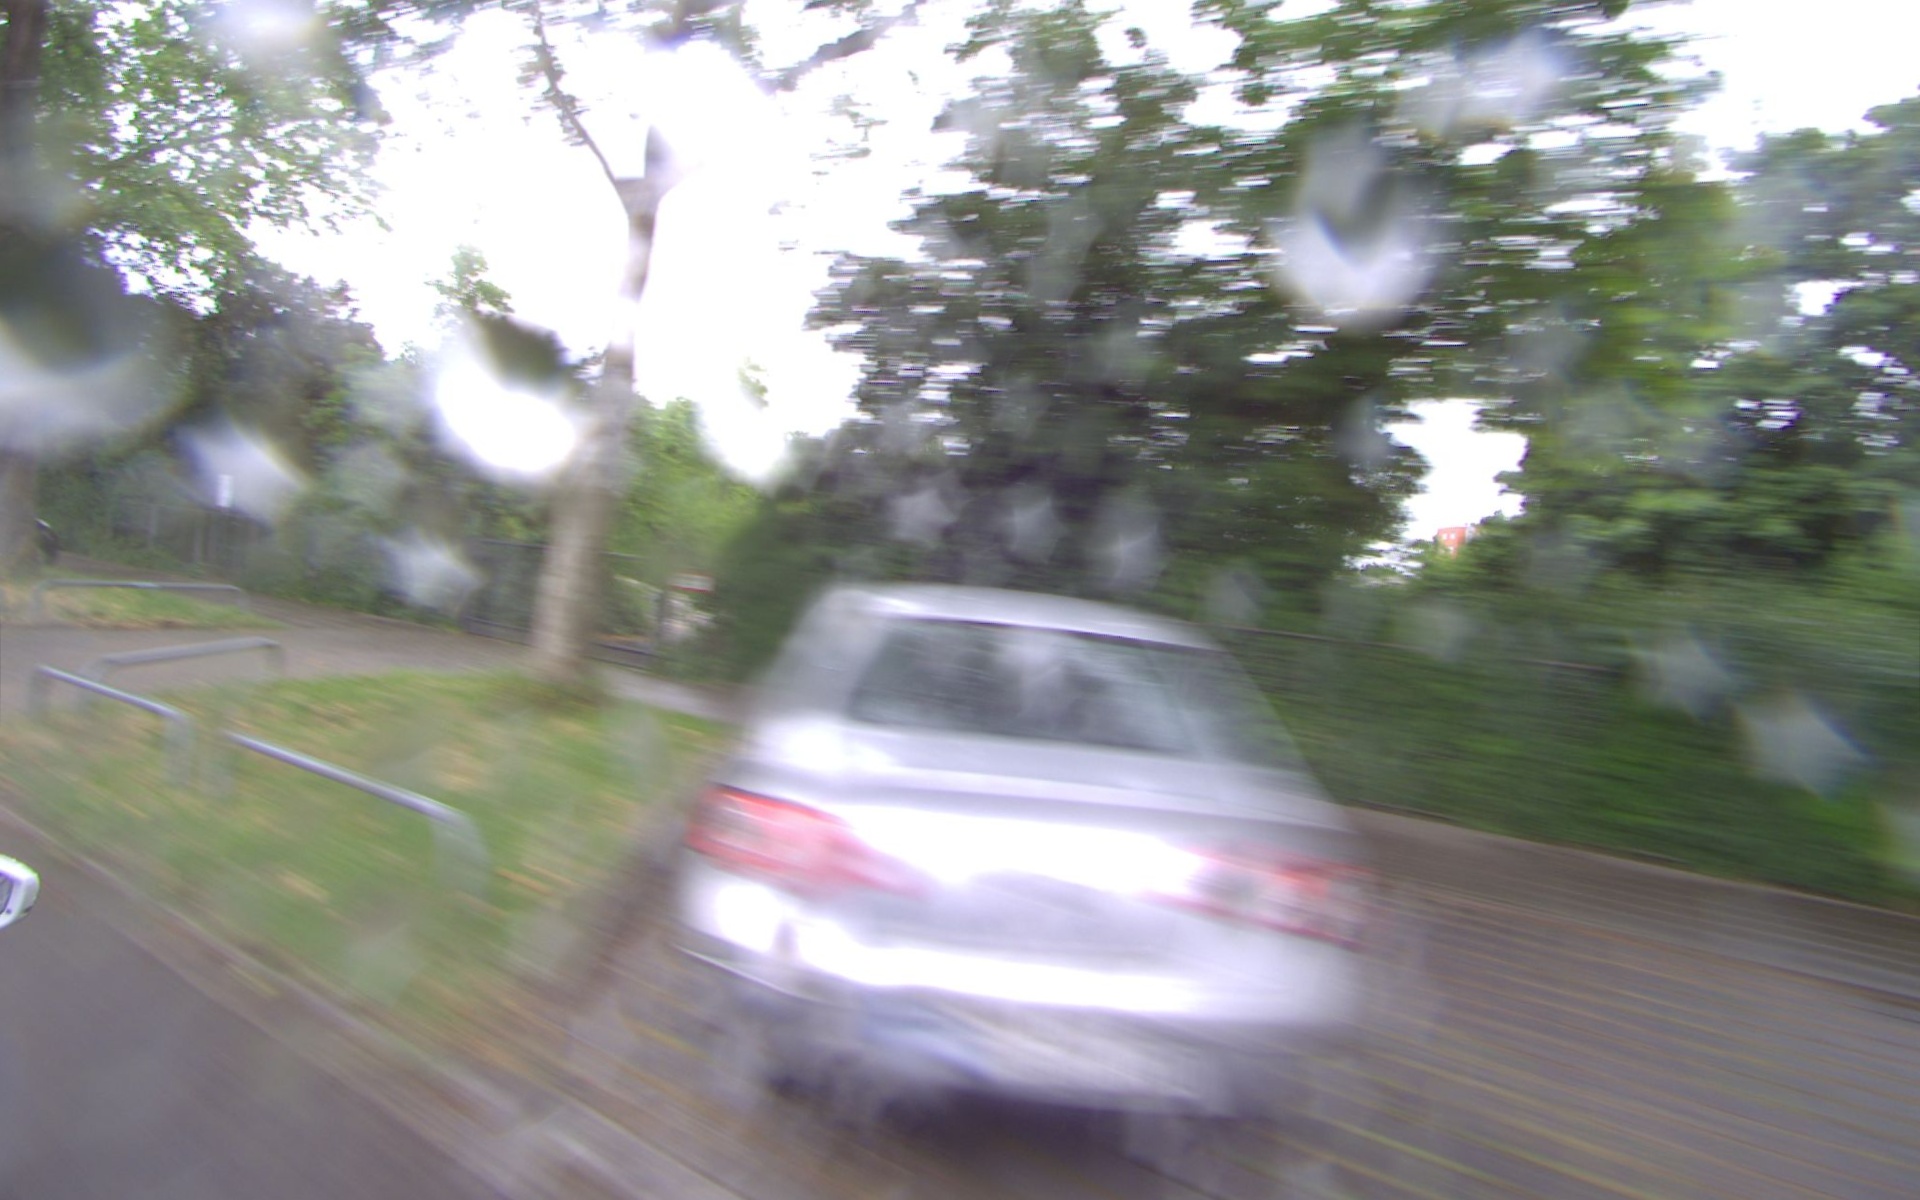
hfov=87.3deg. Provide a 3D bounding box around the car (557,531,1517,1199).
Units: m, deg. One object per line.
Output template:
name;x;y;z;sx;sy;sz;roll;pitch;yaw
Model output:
car;0.128;0.617;4.373;1.853;1.566;4.553;6;3;-1

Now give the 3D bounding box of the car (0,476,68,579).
car;-15.604;-1.182;14.808;1.589;1.587;3.711;6;1;-1
